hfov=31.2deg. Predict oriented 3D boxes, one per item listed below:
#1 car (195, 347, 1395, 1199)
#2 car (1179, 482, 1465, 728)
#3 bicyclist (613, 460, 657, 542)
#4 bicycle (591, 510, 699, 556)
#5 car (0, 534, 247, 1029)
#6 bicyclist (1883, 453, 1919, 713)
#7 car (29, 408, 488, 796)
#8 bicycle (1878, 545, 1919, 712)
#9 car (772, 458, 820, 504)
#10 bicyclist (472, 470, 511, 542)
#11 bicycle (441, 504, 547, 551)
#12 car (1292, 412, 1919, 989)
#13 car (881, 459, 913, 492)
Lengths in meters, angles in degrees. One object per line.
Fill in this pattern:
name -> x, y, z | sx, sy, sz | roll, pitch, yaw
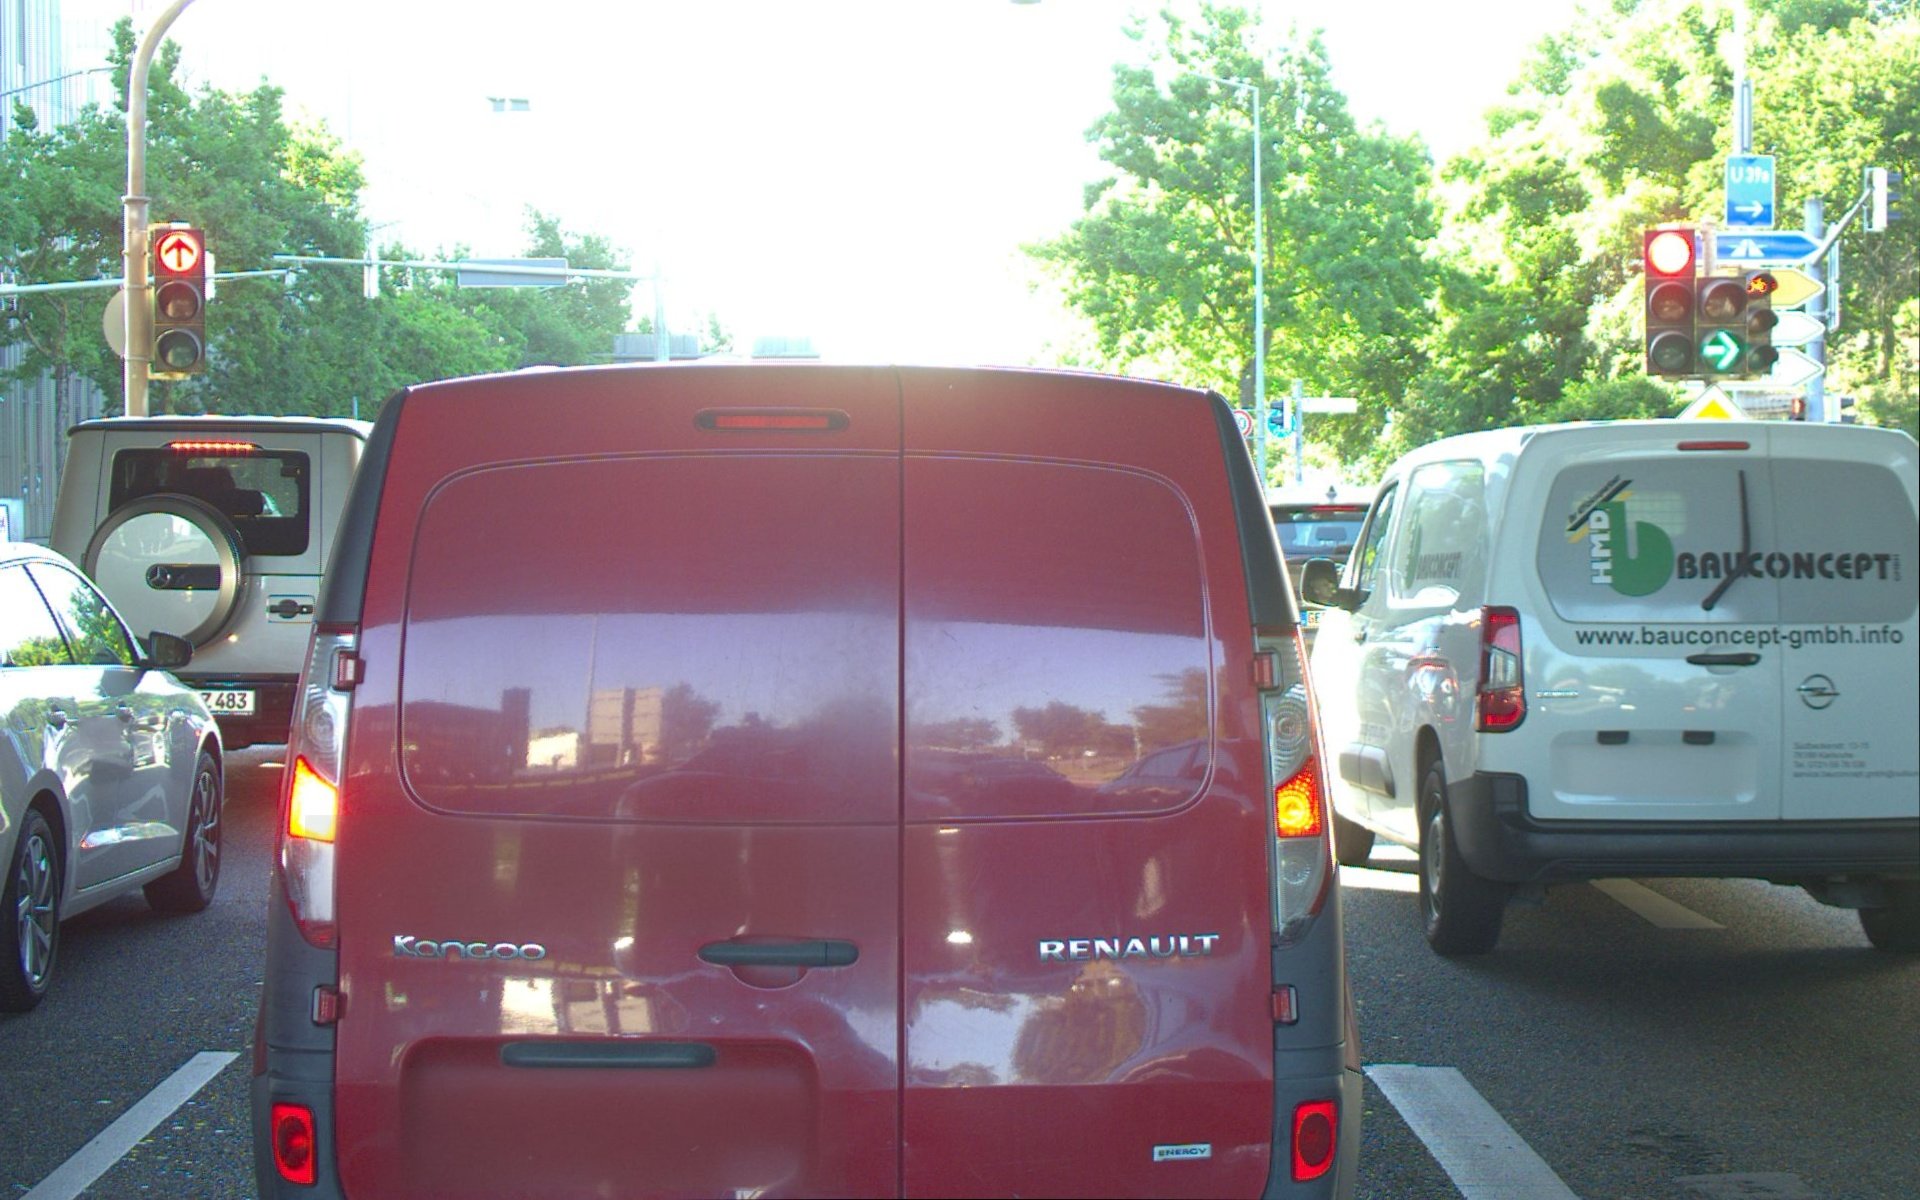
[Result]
car -> -0.265, 0.484, 6.975 | 1.719, 1.758, 4.000 | 1, 1, -1
car -> 2.635, -0.017, 25.807 | 1.778, 1.650, 3.990 | 2, 1, 2
bicyclist -> -6.089, -1.851, 64.482 | 0.755, 1.537, 0.697 | 0, 1, 0
bicycle -> -5.899, -1.254, 64.500 | 1.953, 0.871, 0.699 | 0, 1, 0
car -> -3.612, 0.485, 11.500 | 1.692, 1.405, 3.813 | 1, 1, -1
bicyclist -> 6.229, -0.102, 21.729 | 0.677, 1.623, 0.644 | 1, 0, 10
car -> -3.731, -0.026, 18.908 | 1.813, 1.897, 3.814 | 1, 1, -1
bicycle -> 6.223, 0.175, 21.714 | 0.677, 1.020, 1.528 | 1, 1, 10
car -> -7.573, -5.504, 159.027 | 1.993, 2.007, 4.000 | 1, 1, -1
bicyclist -> -8.692, -1.739, 63.748 | 0.652, 1.325, 0.603 | 1, 0, -4
bicycle -> -8.646, -1.349, 63.775 | 1.912, 0.864, 0.605 | 0, 1, -4
car -> 2.446, 0.254, 13.123 | 1.813, 1.827, 4.301 | 1, 2, -1
car -> -4.011, -7.991, 220.588 | 1.993, 2.007, 4.000 | 1, 1, -1
